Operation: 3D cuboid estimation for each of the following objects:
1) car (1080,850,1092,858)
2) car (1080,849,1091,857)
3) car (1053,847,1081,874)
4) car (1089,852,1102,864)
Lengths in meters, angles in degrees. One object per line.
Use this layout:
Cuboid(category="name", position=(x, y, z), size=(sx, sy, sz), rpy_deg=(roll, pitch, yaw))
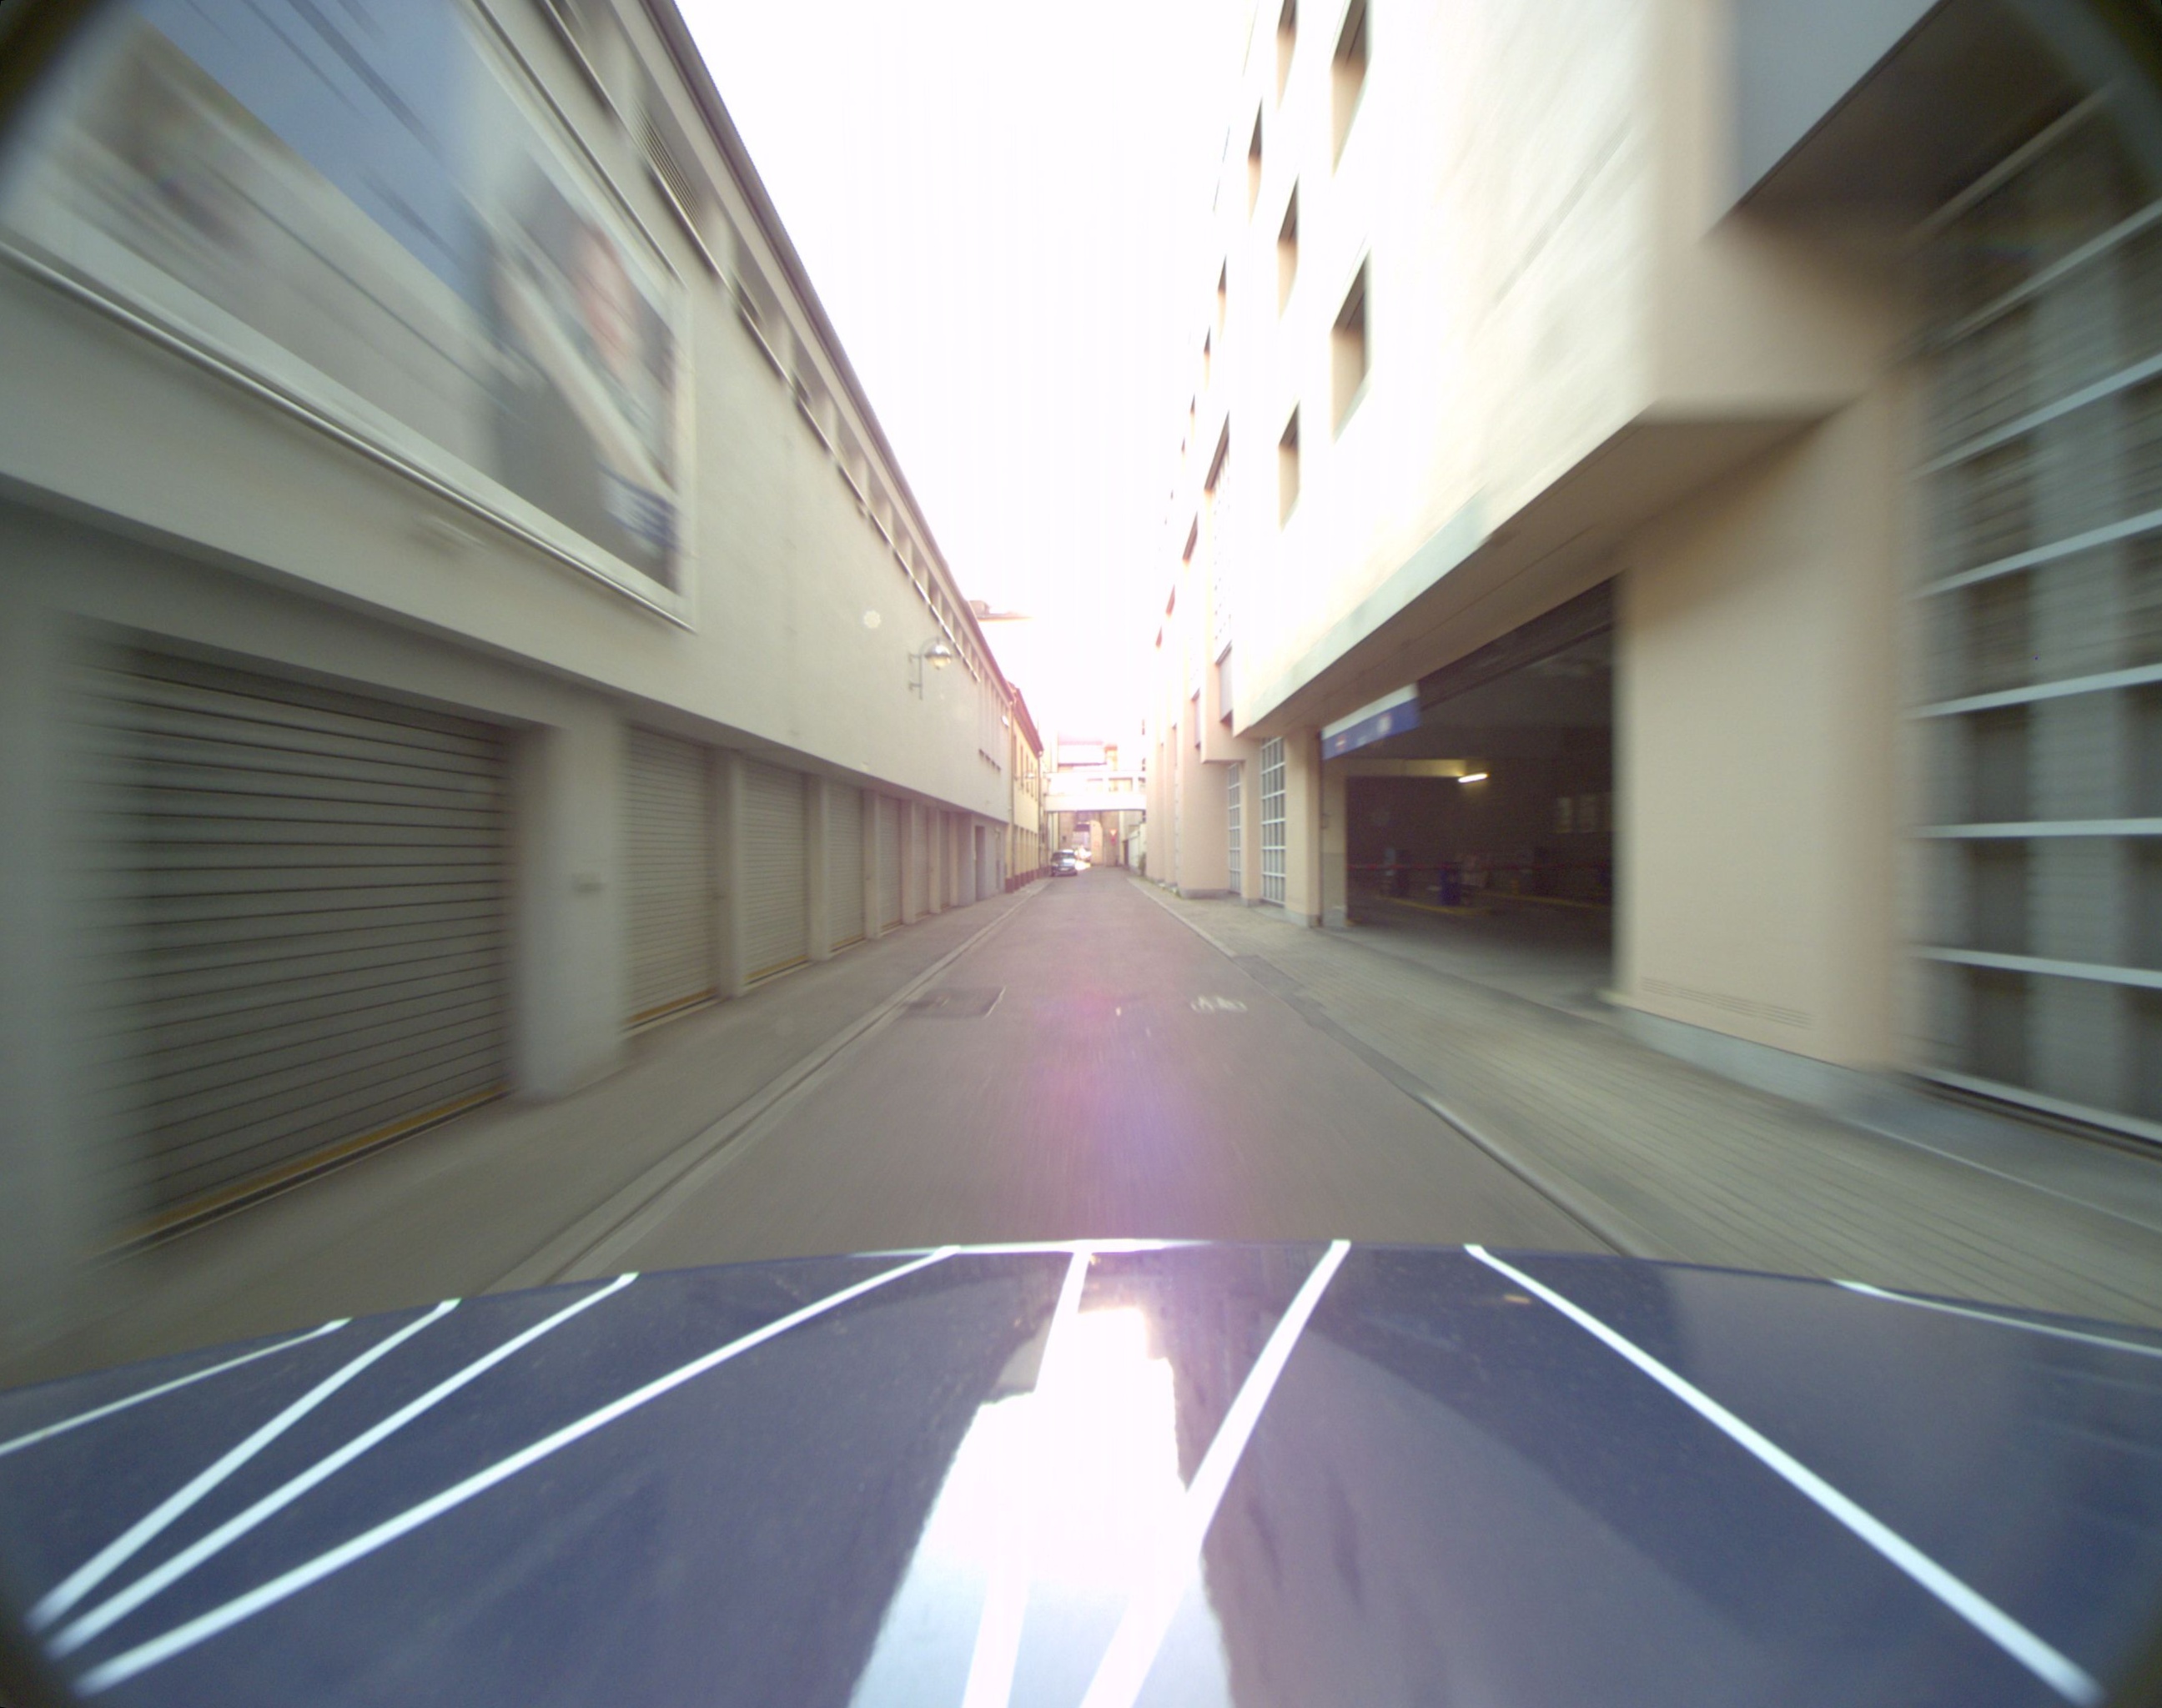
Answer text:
Cuboid(category="car", position=(0.887, -0.064, 136.763), size=(1.806, 1.415, 3.754), rpy_deg=(-2, 0, -2))
Cuboid(category="car", position=(0.867, -0.161, 142.505), size=(1.806, 1.415, 3.754), rpy_deg=(-2, 0, -2))
Cuboid(category="car", position=(-0.957, 0.421, 52.961), size=(1.764, 1.756, 4.749), rpy_deg=(-2, 0, 0))
Cuboid(category="car", position=(2.236, 0.566, 118.179), size=(1.999, 1.805, 3.999), rpy_deg=(-2, 1, 0))
